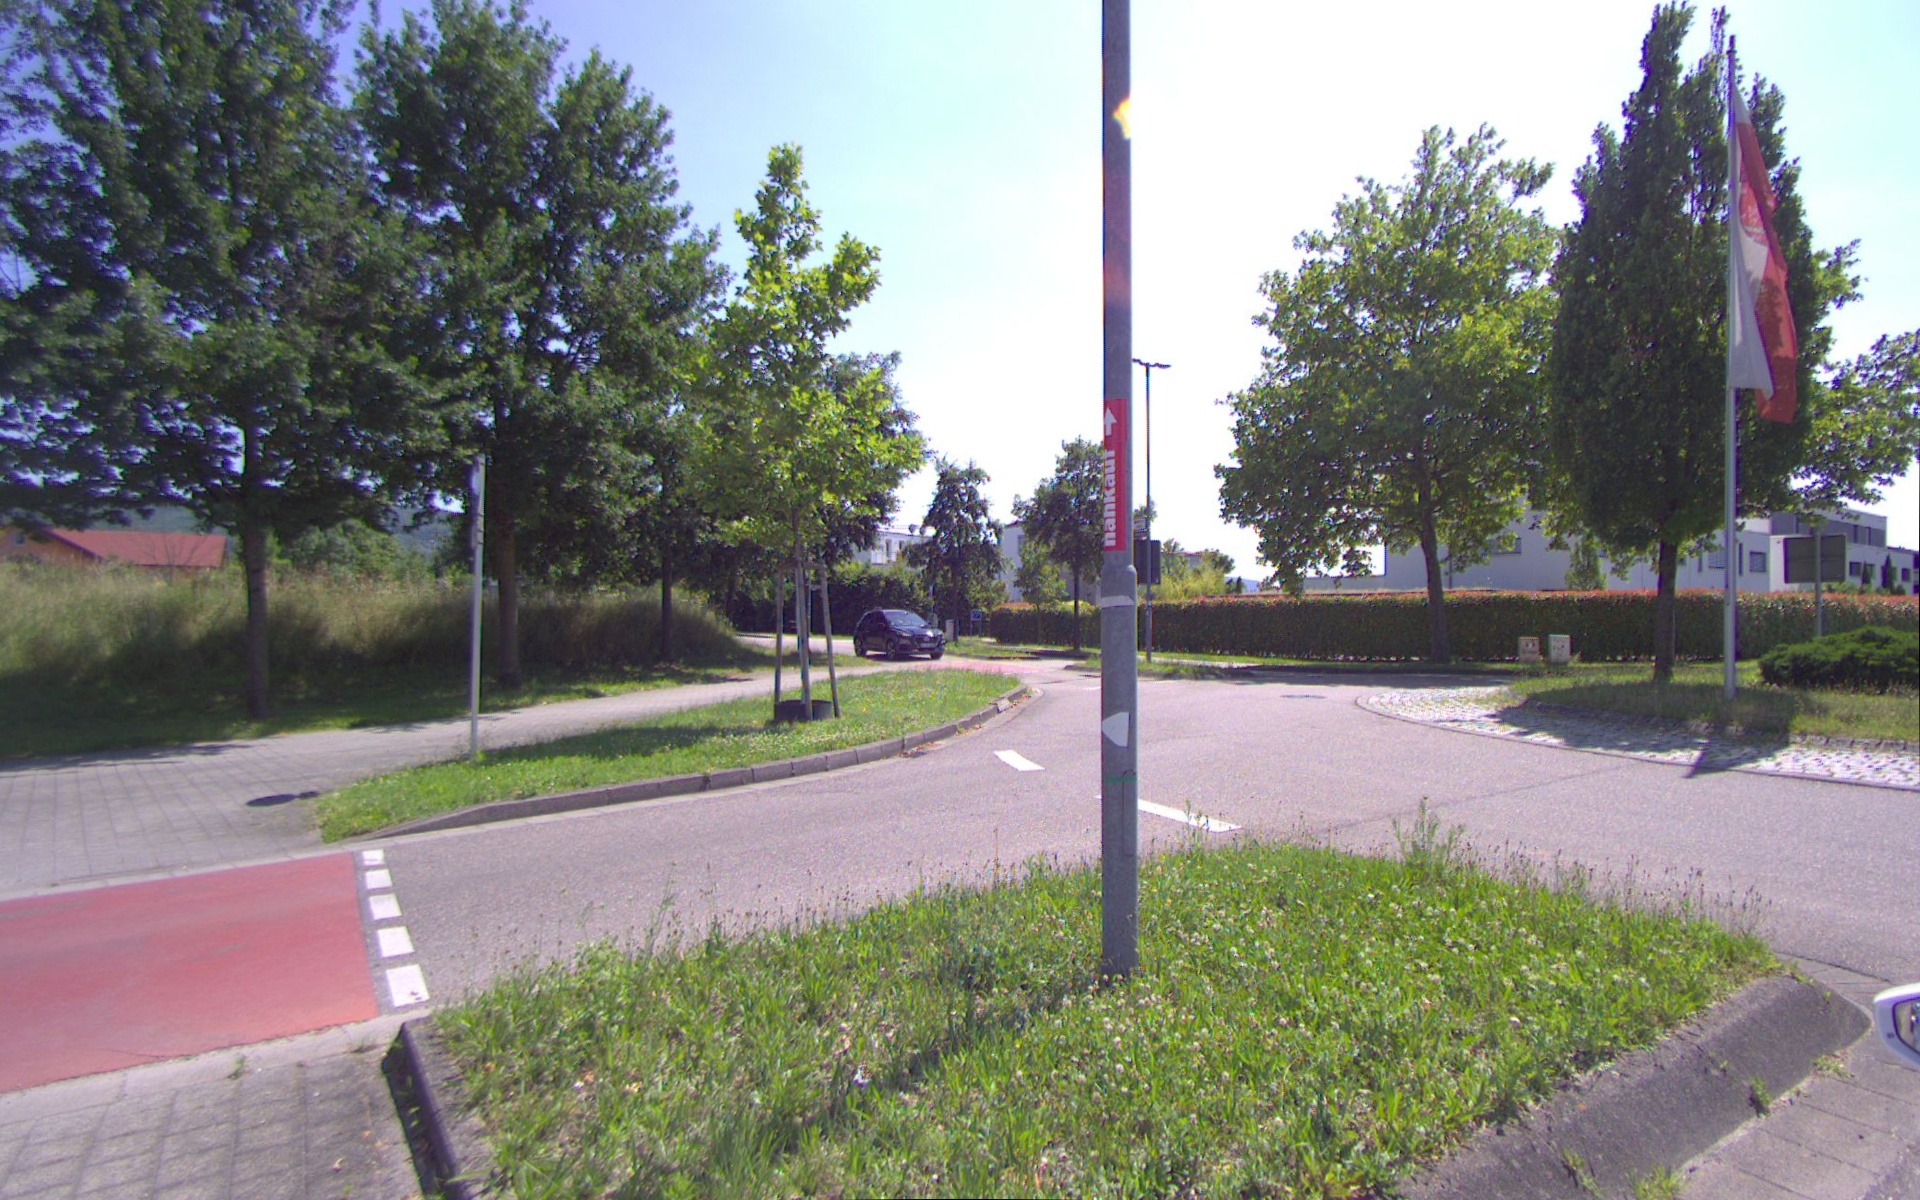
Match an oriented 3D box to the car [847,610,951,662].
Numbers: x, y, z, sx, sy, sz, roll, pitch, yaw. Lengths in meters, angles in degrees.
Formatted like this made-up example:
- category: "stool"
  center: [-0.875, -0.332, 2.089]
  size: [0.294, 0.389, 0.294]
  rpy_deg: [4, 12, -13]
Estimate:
- category: "car"
  center: [-2.093, 1.153, 33.363]
  size: [1.842, 1.589, 4.456]
  rpy_deg: [0, -1, -27]
